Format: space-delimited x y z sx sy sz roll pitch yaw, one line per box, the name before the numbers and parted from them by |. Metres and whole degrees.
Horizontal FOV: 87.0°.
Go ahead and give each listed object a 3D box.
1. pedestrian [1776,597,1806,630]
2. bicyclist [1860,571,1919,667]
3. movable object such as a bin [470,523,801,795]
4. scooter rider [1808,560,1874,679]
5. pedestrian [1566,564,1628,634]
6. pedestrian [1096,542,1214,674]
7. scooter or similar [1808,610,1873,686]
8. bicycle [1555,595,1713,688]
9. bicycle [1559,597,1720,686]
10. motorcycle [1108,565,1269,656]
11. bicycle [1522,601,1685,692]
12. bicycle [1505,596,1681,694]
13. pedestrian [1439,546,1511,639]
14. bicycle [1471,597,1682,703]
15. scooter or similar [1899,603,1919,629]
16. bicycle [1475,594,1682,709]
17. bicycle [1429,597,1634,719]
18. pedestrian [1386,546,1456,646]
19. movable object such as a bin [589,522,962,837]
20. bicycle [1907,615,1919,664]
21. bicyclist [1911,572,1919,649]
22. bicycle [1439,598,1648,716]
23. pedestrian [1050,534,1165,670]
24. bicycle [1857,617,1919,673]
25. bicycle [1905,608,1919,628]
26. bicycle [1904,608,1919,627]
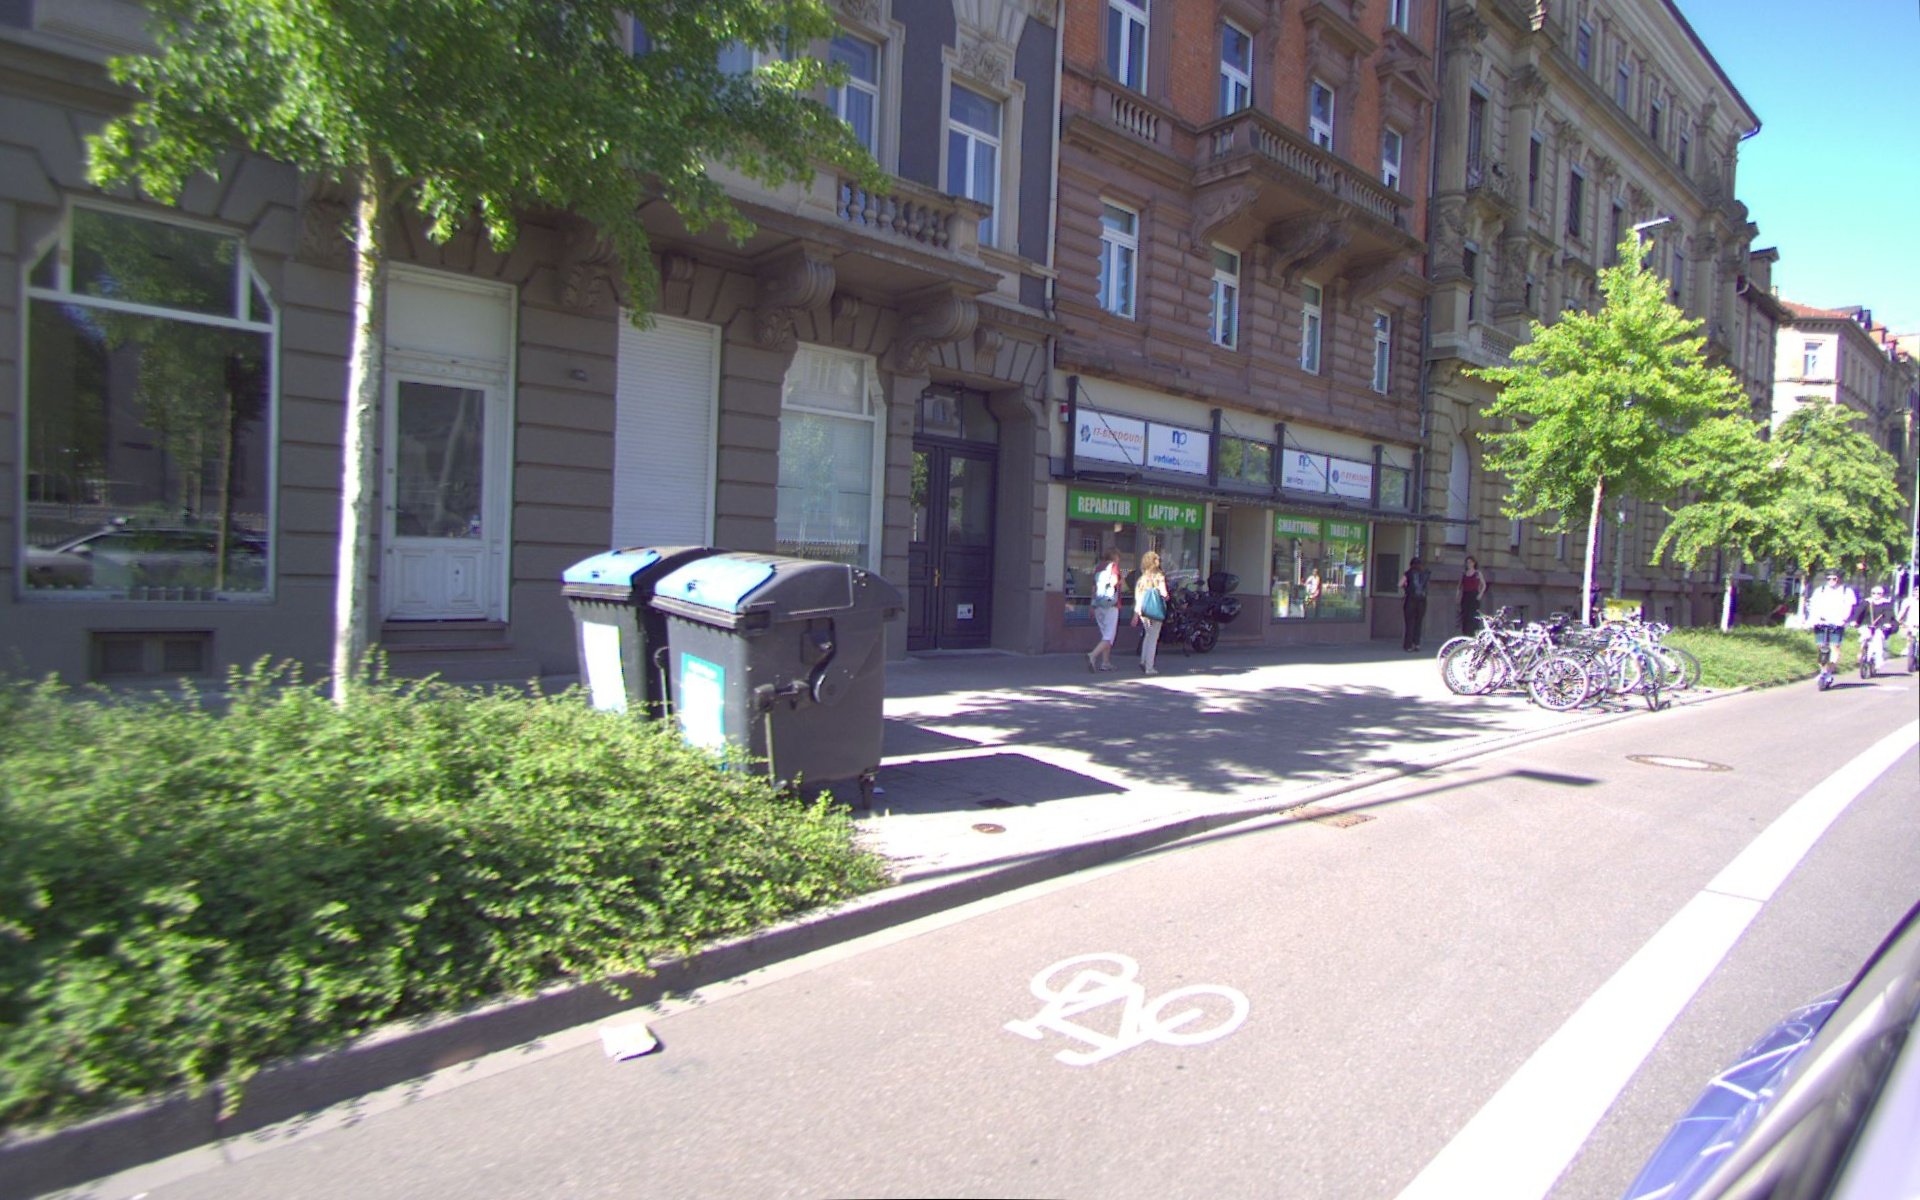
pedestrian | 32.088 0.514 39.063 0.866 1.197 0.719 0 3 -41
bicyclist | 18.496 0.368 20.124 1.072 1.840 0.724 1 1 -41
movable object such as a bin | -2.206 0.298 6.859 1.718 1.513 1.377 0 5 -39
scooter rider | 14.506 0.301 16.656 0.882 1.890 0.662 1 1 -41
pedestrian | 16.704 -0.037 26.532 1.094 1.712 0.972 1 4 -39
pedestrian | 2.511 0.087 13.013 1.061 1.585 0.952 2 2 -41
scooter or similar | 14.504 0.766 16.665 1.130 1.172 0.646 1 1 -41
bicycle | 9.984 0.579 15.065 0.367 1.193 1.869 0 4 -43
bicycle | 10.234 0.589 15.308 0.509 1.121 1.894 0 5 -45
motorcycle | 3.641 0.128 15.929 2.930 1.281 0.868 0 4 -41
bicycle | 9.114 0.628 14.392 1.816 1.068 0.562 6 5 44
bicycle | 8.833 0.591 14.202 0.428 1.121 1.981 0 5 -43
pedestrian | 11.296 -0.170 22.212 1.077 1.942 0.893 1 4 -35
bicycle | 8.066 0.613 13.334 2.279 1.115 0.480 6 4 36
scooter or similar | 47.828 0.803 50.615 0.479 1.212 1.197 1 3 -45
bicycle | 7.900 0.621 13.006 2.142 1.168 0.424 8 5 37
bicycle | 6.765 0.647 12.077 1.977 1.137 0.474 9 5 45
pedestrian | 8.671 -0.093 19.033 0.846 1.756 0.890 8 6 39
movable object such as a bin | -1.053 0.379 5.743 1.612 1.481 1.275 4 1 -36
bicycle | 21.444 0.868 22.238 1.918 1.019 0.724 1 1 -42
bicyclist | 21.395 0.247 22.173 0.960 1.677 0.699 1 1 -42
bicycle | 7.064 0.642 12.345 2.045 1.120 0.601 8 6 44
pedestrian | 1.910 0.013 13.134 0.975 1.659 0.973 2 3 -41
bicycle | 18.484 0.871 20.129 1.918 1.019 0.724 1 1 -42
bicycle | 49.263 0.983 51.227 0.580 0.922 1.911 0 5 -32
bicycle | 49.564 0.930 51.831 0.488 0.936 1.717 0 3 -40
